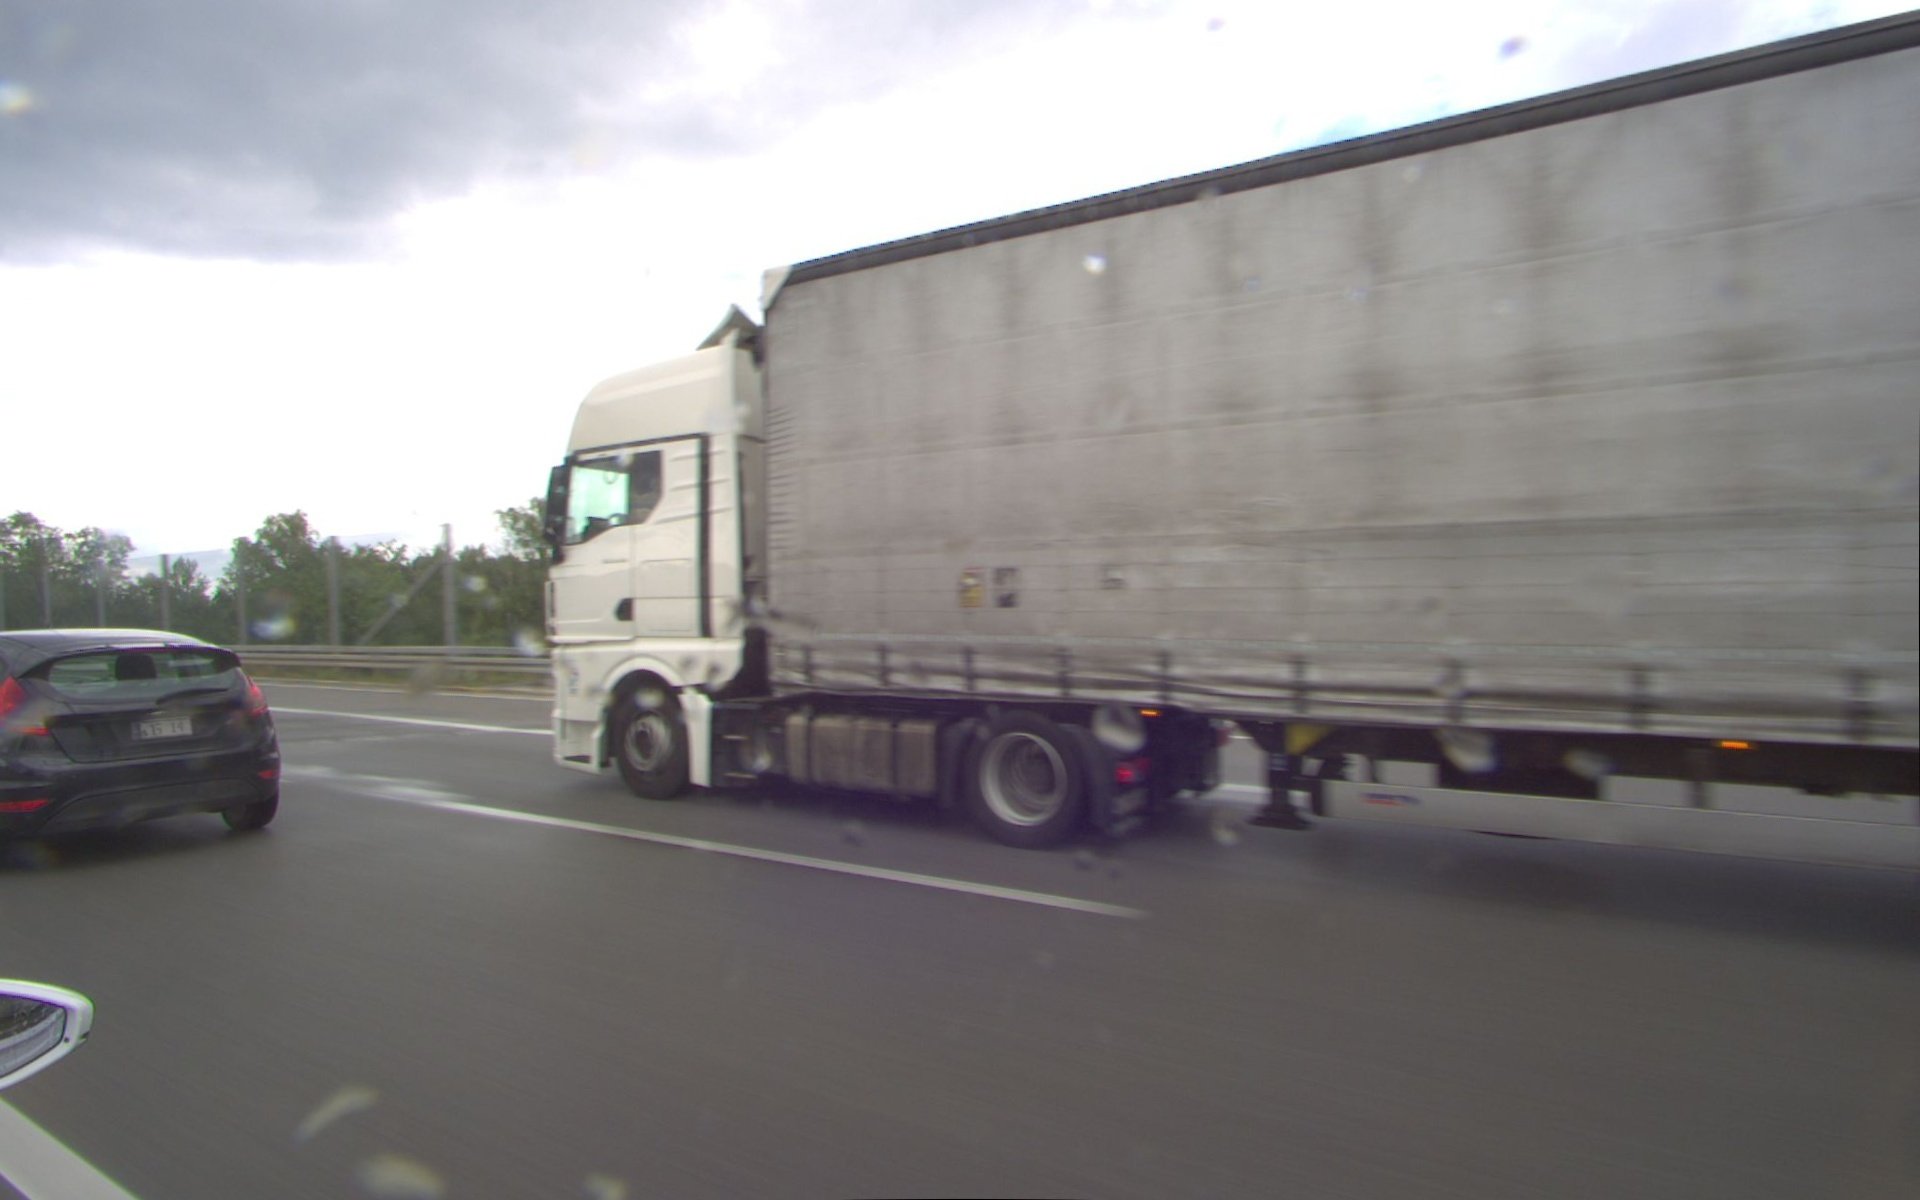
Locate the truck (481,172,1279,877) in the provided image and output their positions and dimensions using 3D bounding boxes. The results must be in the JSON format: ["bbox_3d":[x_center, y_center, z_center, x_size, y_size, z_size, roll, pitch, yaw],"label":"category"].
[{"bbox_3d":[-0.878,-0.404,8.760,6.492,4.073,2.956,0,0,32],"label":"truck"}]

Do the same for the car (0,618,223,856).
[{"bbox_3d":[-7.039,0.876,7.446,3.117,1.460,1.444,0,0,31],"label":"car"}]

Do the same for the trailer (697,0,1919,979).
[{"bbox_3d":[4.647,-0.475,5.339,13.911,4.073,2.956,0,0,32],"label":"trailer"}]
